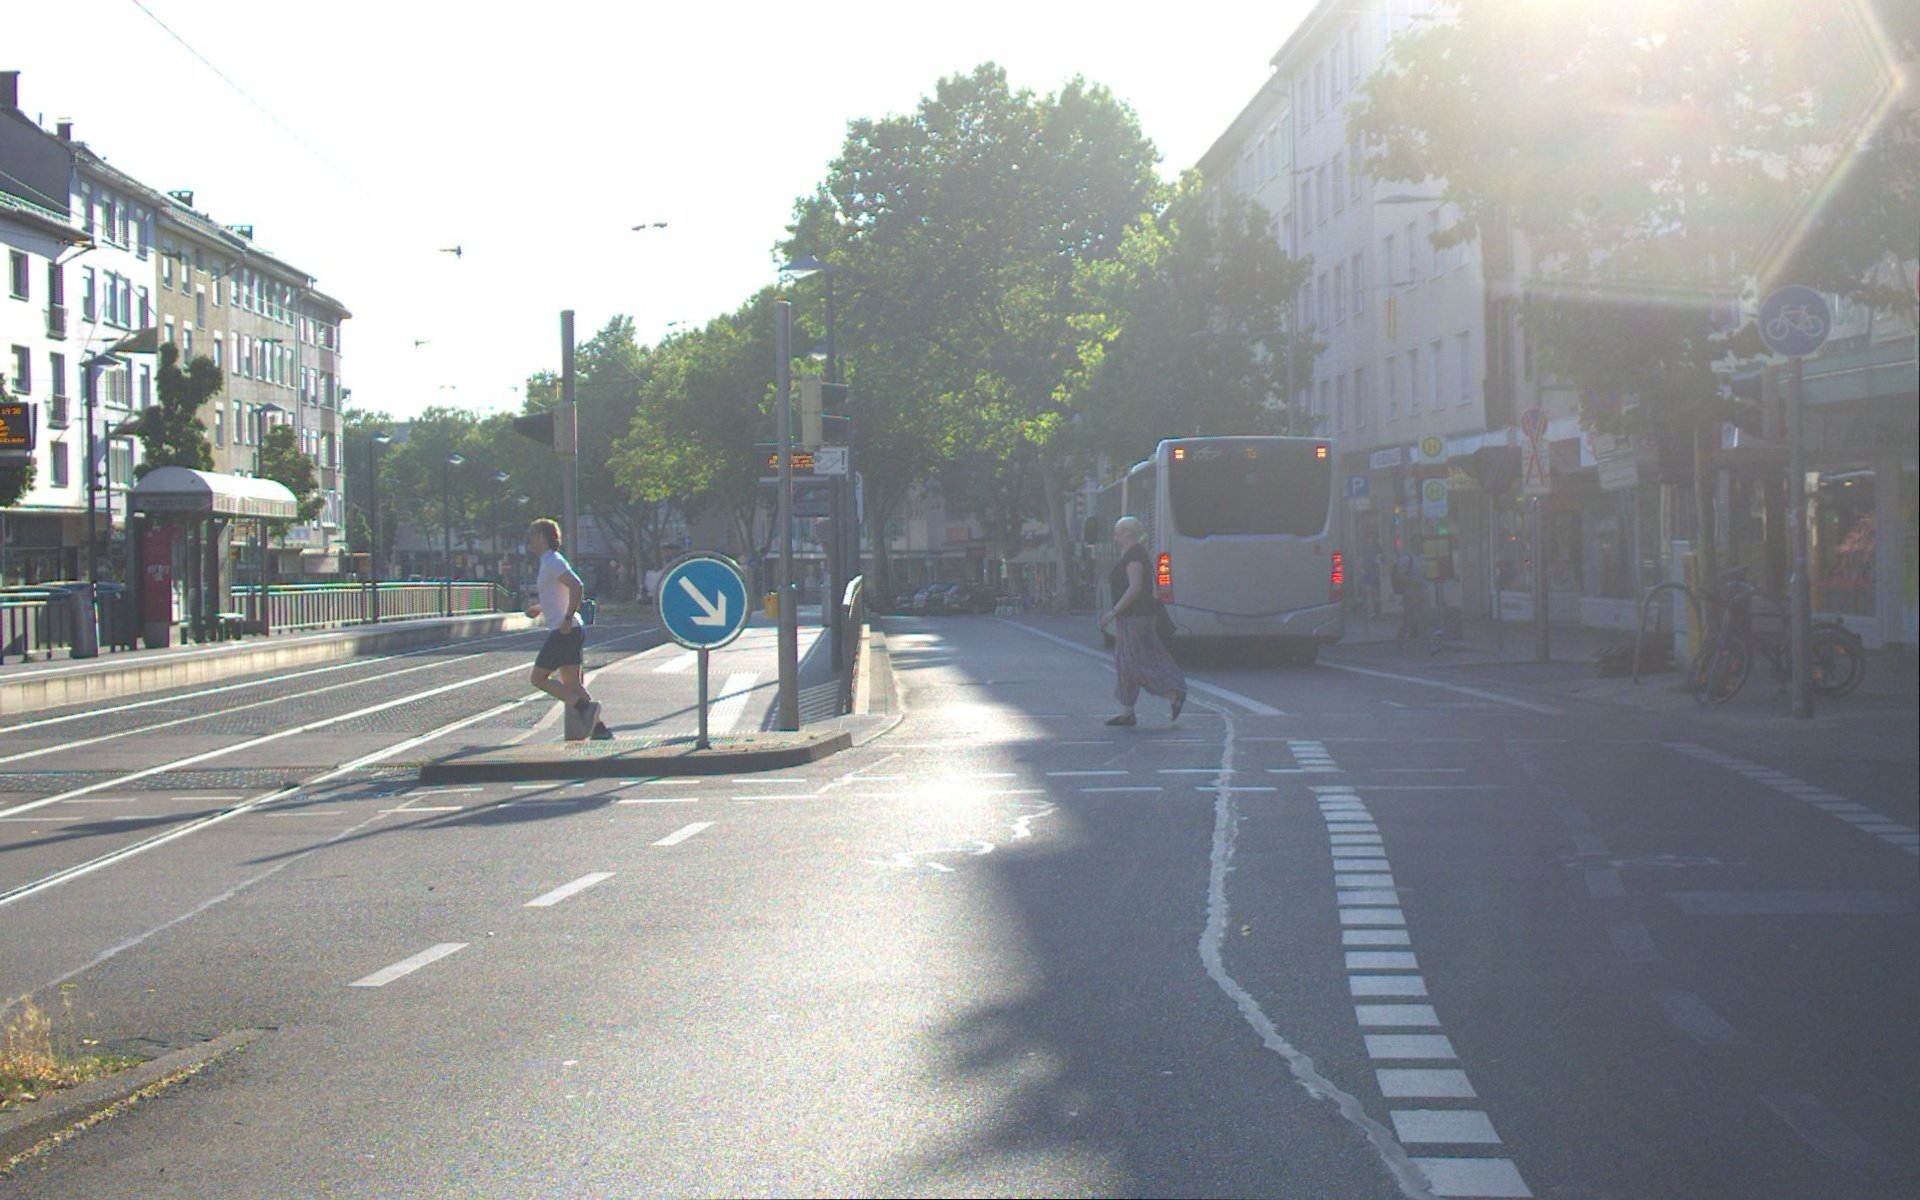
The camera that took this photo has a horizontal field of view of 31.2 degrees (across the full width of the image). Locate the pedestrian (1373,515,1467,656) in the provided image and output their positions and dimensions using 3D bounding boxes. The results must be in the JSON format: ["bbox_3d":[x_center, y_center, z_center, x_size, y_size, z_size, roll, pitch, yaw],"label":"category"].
[{"bbox_3d":[6.667,-0.211,49.853,0.954,2.007,0.917,1,1,-44],"label":"pedestrian"}]

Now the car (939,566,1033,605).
[{"bbox_3d":[1.195,-0.670,158.456,3.889,1.693,1.833,-2,1,-29],"label":"car"}]

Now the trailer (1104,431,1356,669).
[{"bbox_3d":[3.762,-0.717,49.965,2.812,3.100,8.795,1,1,-1],"label":"trailer"}]

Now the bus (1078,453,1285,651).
[{"bbox_3d":[3.660,-0.815,58.909,2.812,3.091,9.095,1,1,-1],"label":"bus"}]

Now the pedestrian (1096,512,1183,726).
[{"bbox_3d":[1.493,0.151,28.689,0.680,1.764,0.687,0,1,0],"label":"pedestrian"}]

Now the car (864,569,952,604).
[{"bbox_3d":[-2.511,-0.674,166.845,3.889,1.591,1.691,-2,1,-29],"label":"car"}]

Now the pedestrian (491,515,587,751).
[{"bbox_3d":[-3.205,0.239,26.219,0.680,1.764,0.687,-1,1,-6],"label":"pedestrian"}]

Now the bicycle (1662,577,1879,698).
[{"bbox_3d":[7.374,0.336,31.325,1.772,1.018,0.694,-2,1,-1],"label":"bicycle"}]

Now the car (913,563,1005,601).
[{"bbox_3d":[-0.027,-0.836,161.293,3.889,1.693,1.833,-2,1,-29],"label":"car"}]
